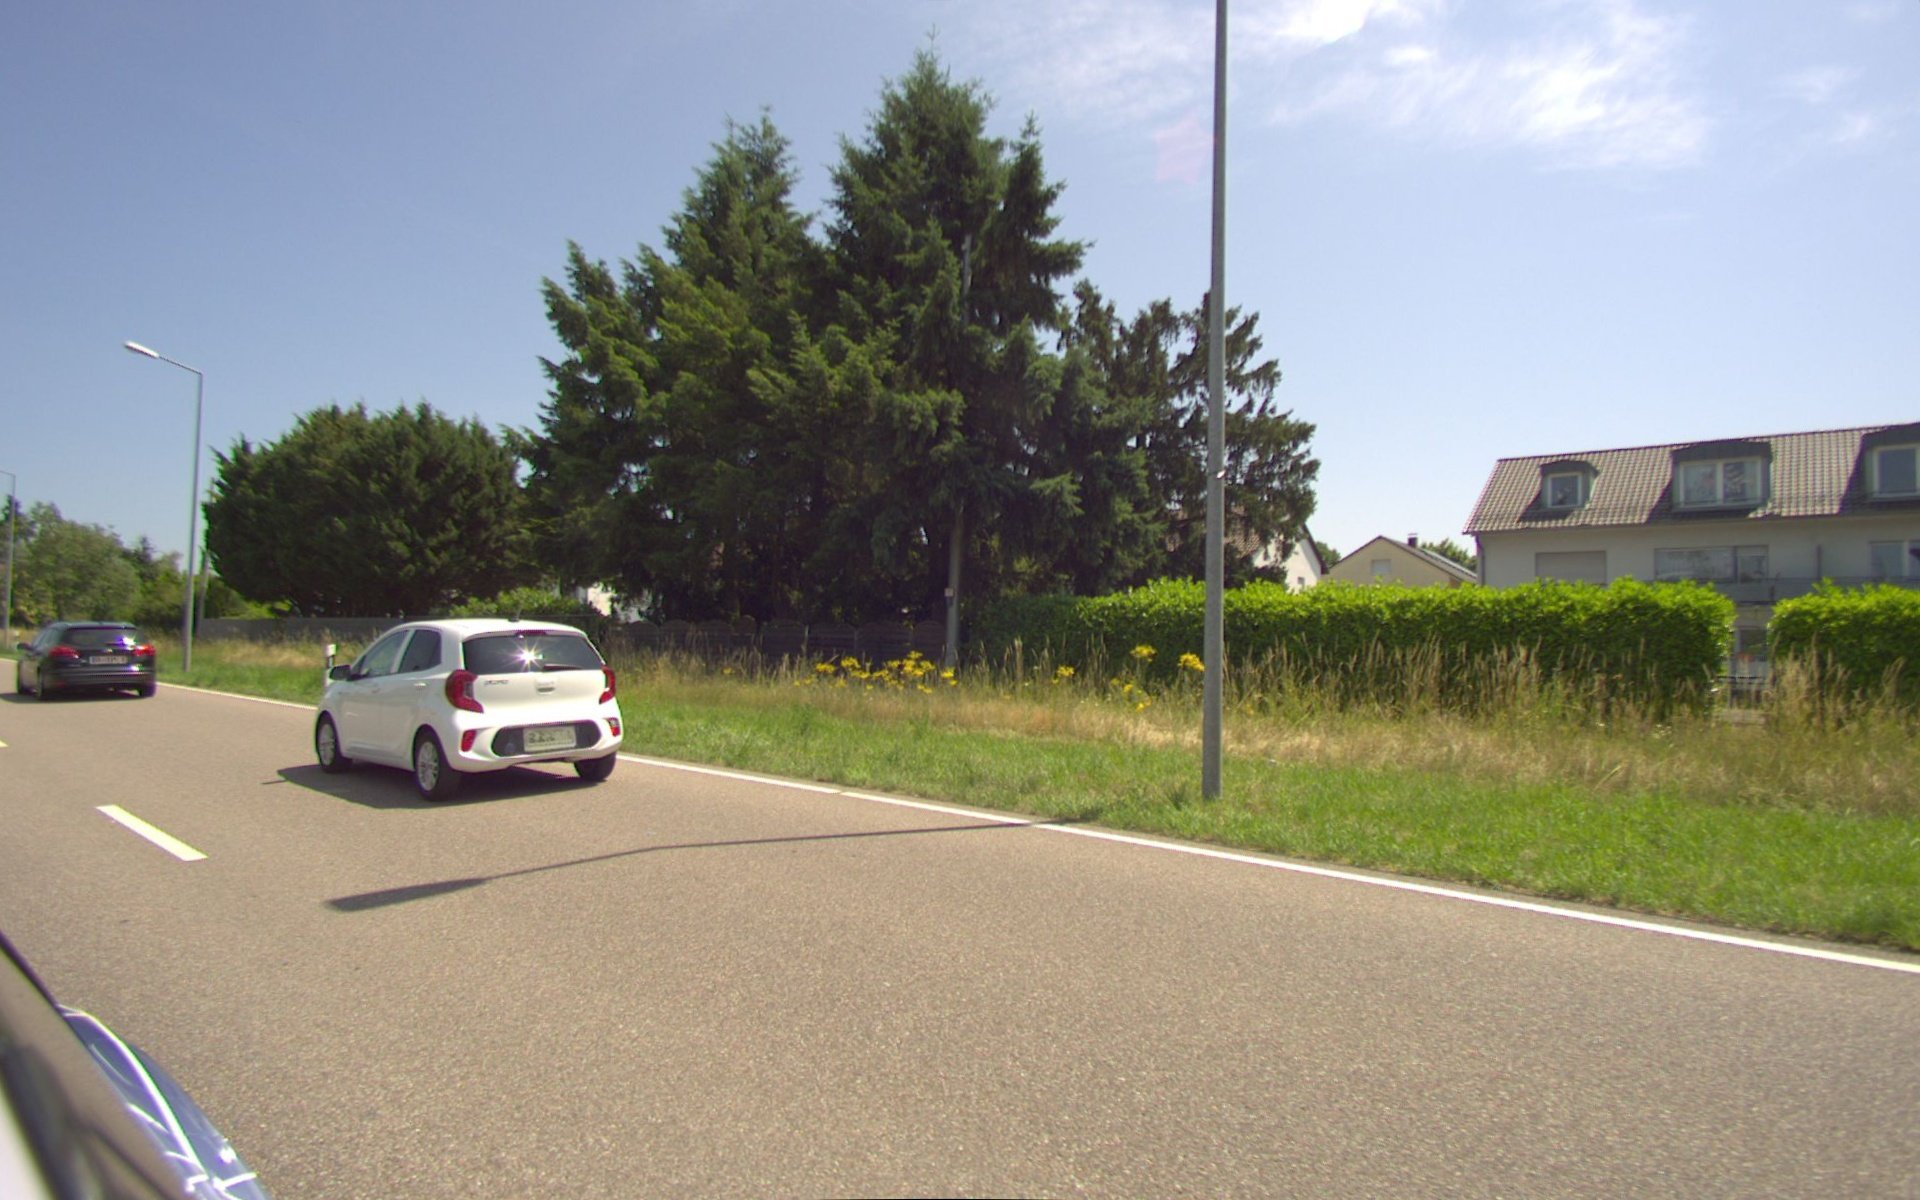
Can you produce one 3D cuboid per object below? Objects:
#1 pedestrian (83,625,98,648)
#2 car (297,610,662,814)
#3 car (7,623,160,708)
[{"bbox_3d":[-56.250,2.340,65.490,0.633,1.489,0.603,-1,-2,39],"label":"pedestrian"},{"bbox_3d":[-4.567,0.878,9.416,3.705,1.514,1.728,-1,-2,41],"label":"car"},{"bbox_3d":[-17.472,1.217,20.101,4.438,1.503,1.683,-1,-2,41],"label":"car"}]
